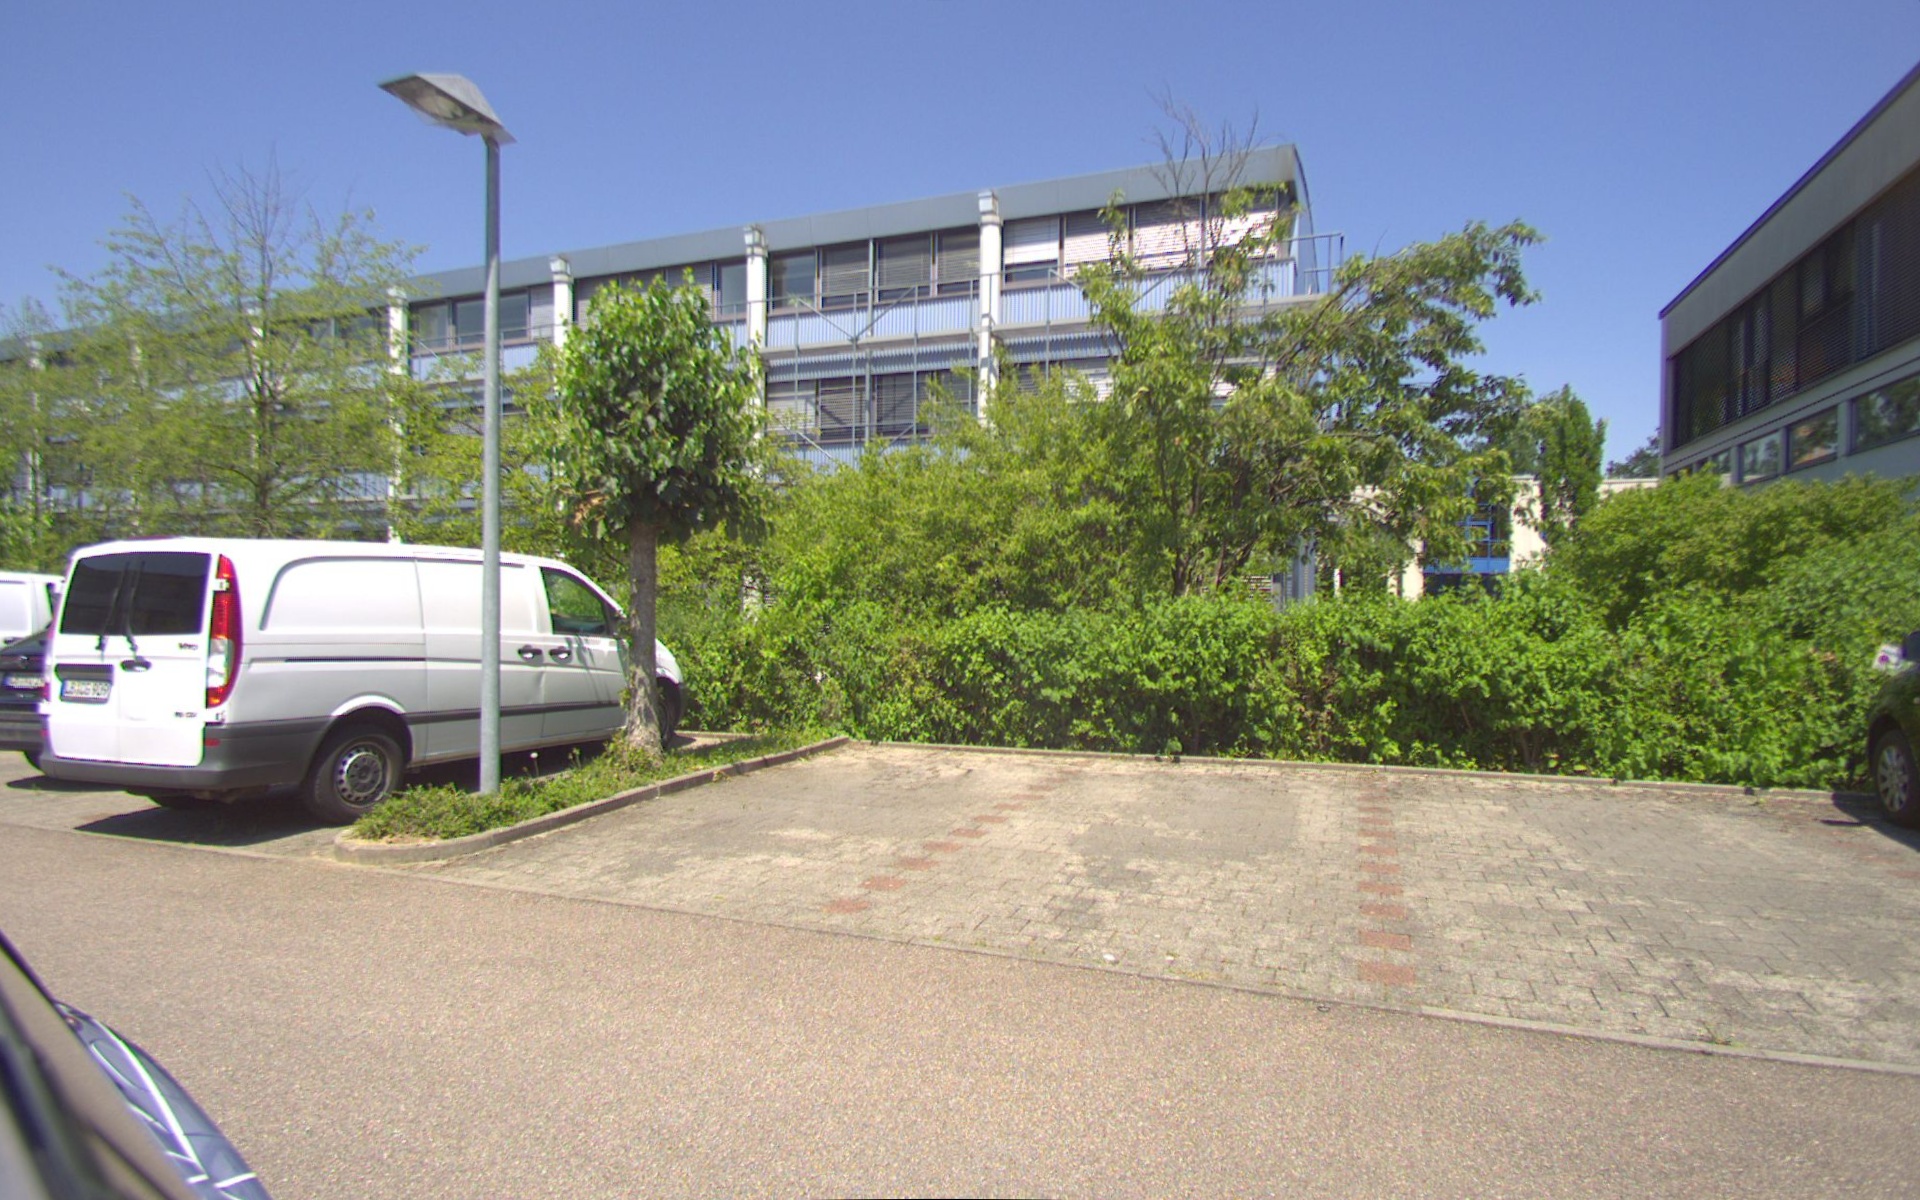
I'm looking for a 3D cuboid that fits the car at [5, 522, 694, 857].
[{"bbox_3d":[-4.319,0.521,8.188,1.855,1.874,4.644,-1,-1,21],"label":"car"}]

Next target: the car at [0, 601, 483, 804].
[{"bbox_3d":[-6.904,0.774,9.740,1.727,1.495,4.169,-1,-1,21],"label":"car"}]

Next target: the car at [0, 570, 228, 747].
[{"bbox_3d":[-11.059,0.629,10.921,1.845,1.870,4.897,-1,0,23],"label":"car"}]

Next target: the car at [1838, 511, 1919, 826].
[{"bbox_3d":[6.186,0.395,4.650,1.855,1.874,4.199,-1,-1,21],"label":"car"}]
